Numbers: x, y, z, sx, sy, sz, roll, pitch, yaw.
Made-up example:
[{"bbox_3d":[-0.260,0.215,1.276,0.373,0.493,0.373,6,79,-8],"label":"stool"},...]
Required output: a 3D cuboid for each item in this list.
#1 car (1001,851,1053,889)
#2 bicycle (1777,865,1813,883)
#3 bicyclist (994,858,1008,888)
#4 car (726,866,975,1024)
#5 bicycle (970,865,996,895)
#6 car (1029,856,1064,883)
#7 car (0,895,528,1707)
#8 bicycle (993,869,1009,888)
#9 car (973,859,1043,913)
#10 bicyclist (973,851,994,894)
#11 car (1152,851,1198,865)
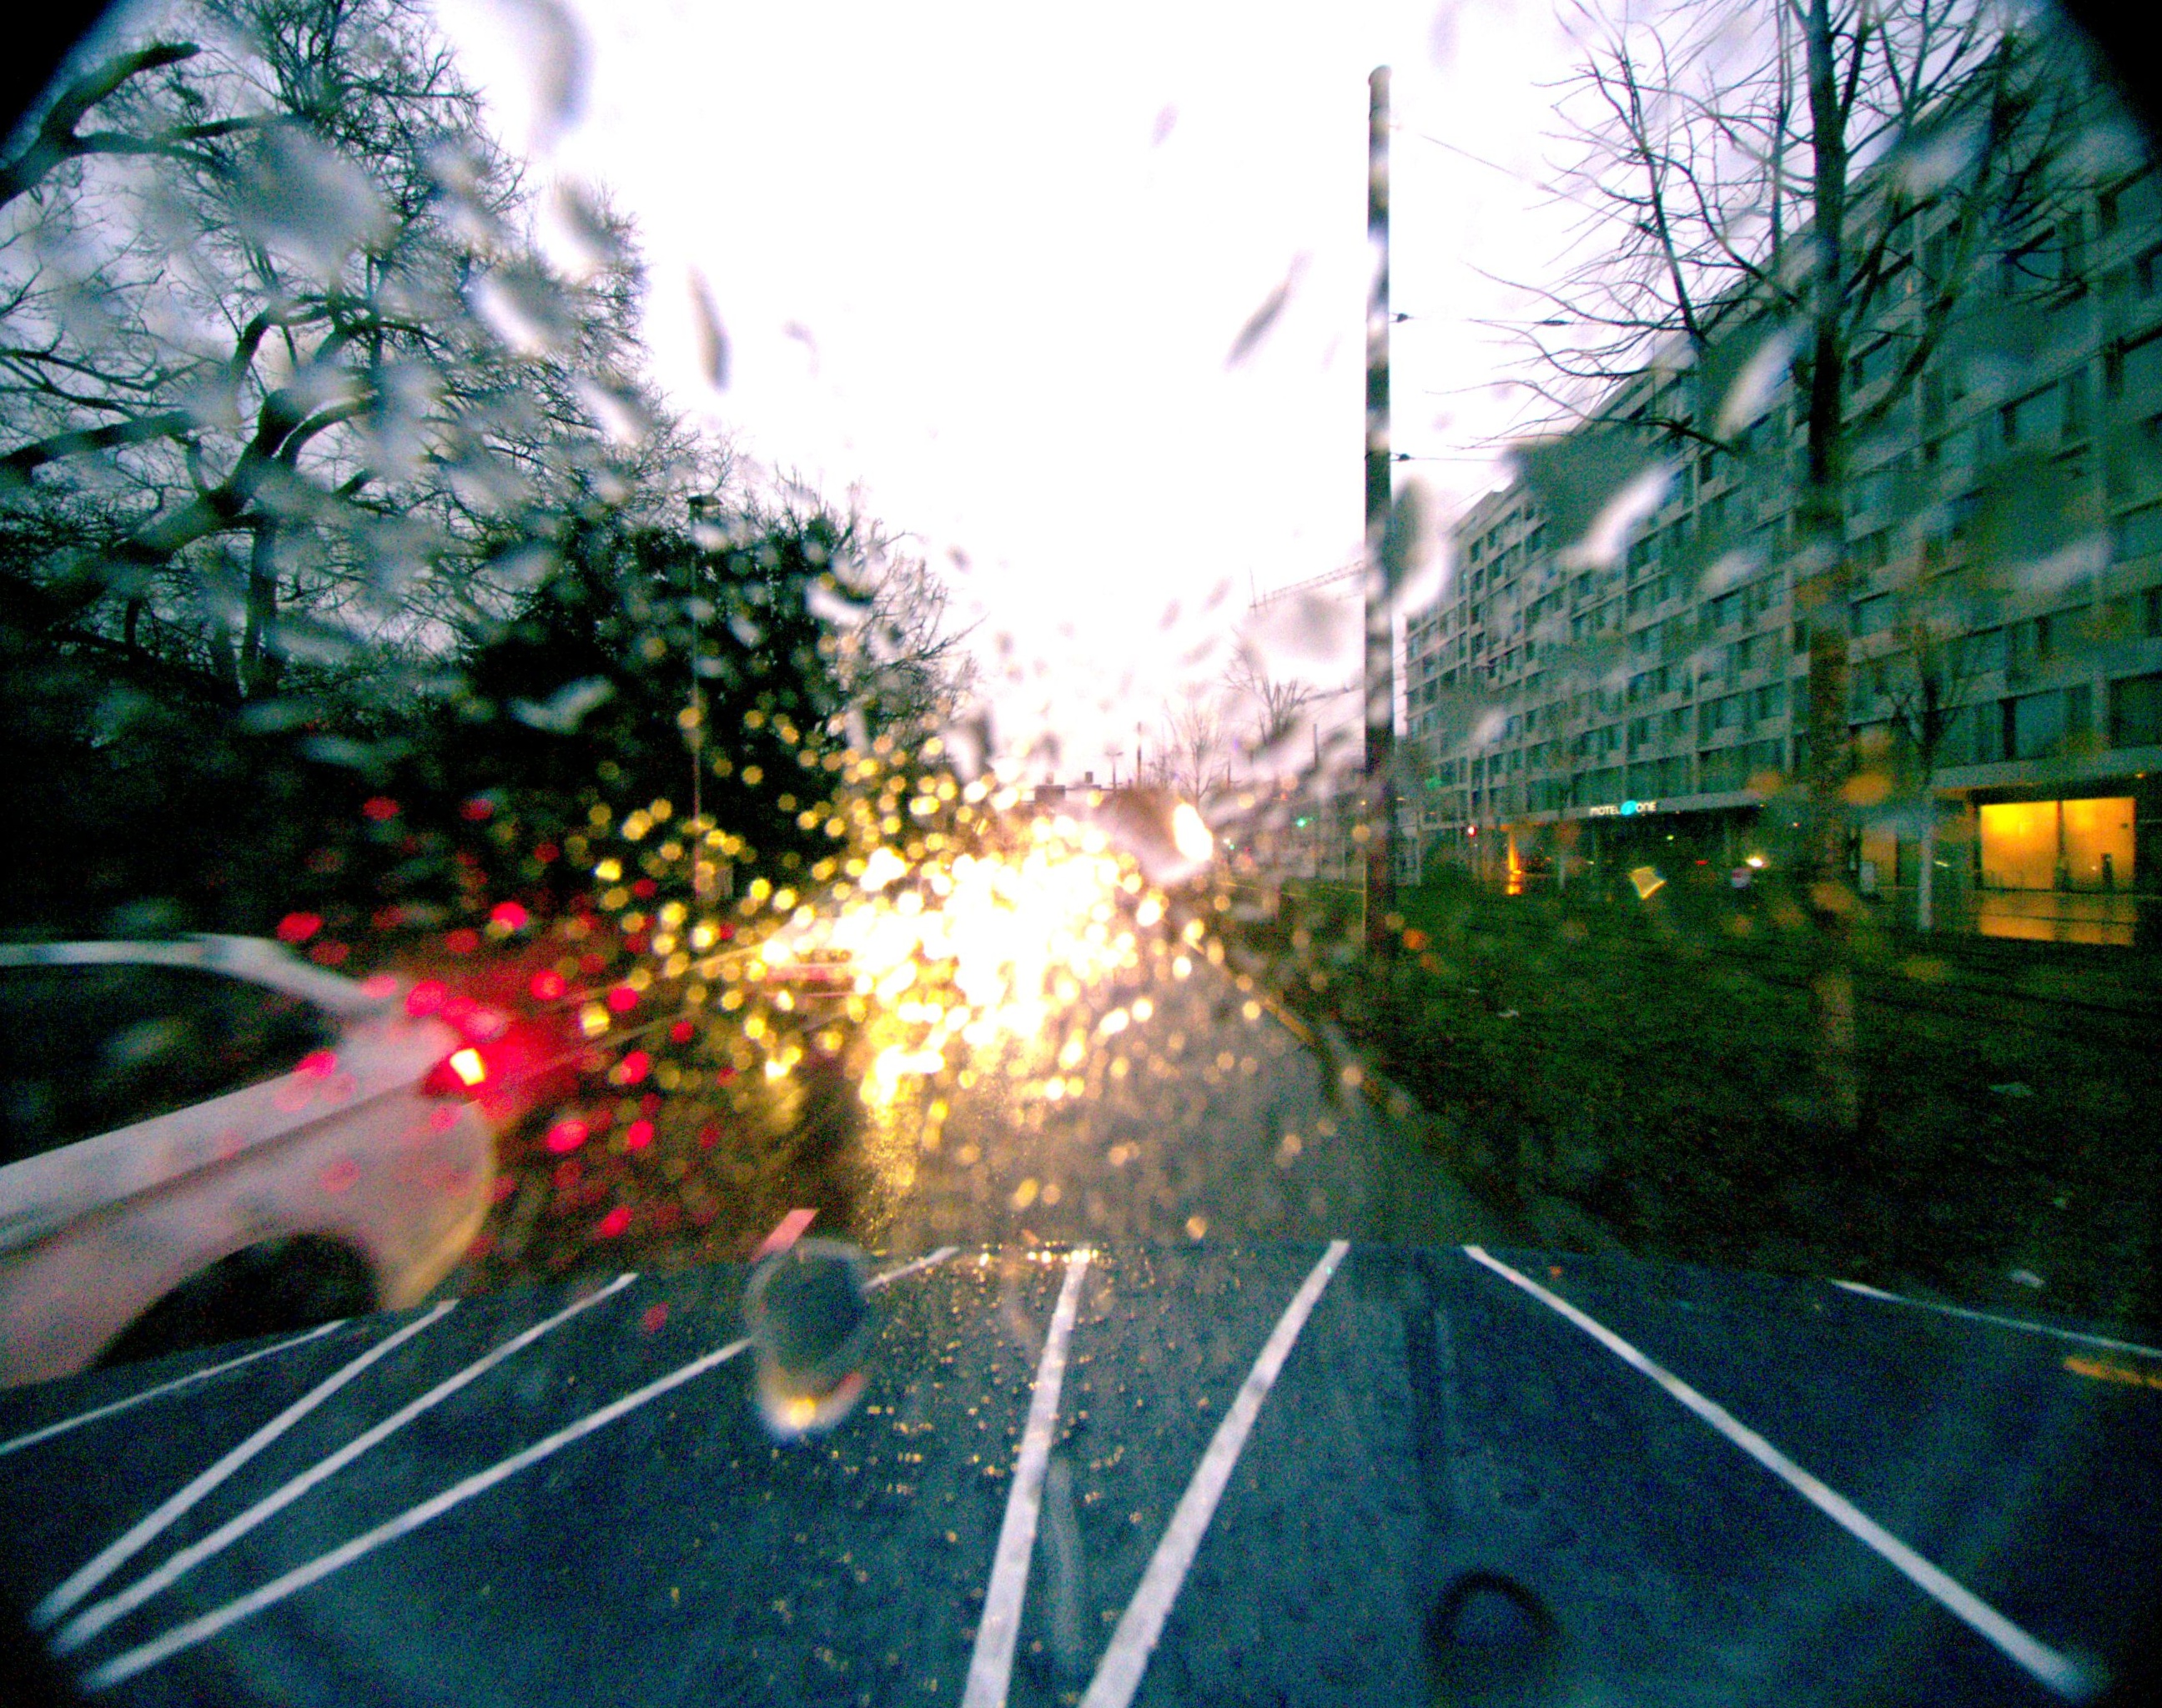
[{"bbox_3d":[-2.533,0.739,36.610,2.073,1.618,4.268,-2,0,1],"label":"car"},{"bbox_3d":[36.309,1.019,38.638,1.349,0.849,0.465,-2,1,-1],"label":"bicycle"},{"bbox_3d":[-4.615,1.091,43.753,0.691,1.675,0.593,-2,1,1],"label":"bicyclist"},{"bbox_3d":[-2.661,0.969,9.885,1.886,1.552,4.171,0,0,1],"label":"car"},{"bbox_3d":[-5.185,1.355,40.578,0.968,1.442,3.389,-2,0,-1],"label":"bicycle"},{"bbox_3d":[-2.260,0.999,50.935,1.998,1.618,4.268,-2,0,1],"label":"car"},{"bbox_3d":[-2.852,0.918,0.174,1.867,1.547,4.937,0,0,-1],"label":"car"},{"bbox_3d":[-4.607,1.408,43.757,0.691,1.036,1.721,-2,1,1],"label":"bicycle"},{"bbox_3d":[-2.503,1.050,27.006,2.073,1.618,4.267,-2,0,-1],"label":"car"},{"bbox_3d":[-5.220,0.983,40.718,0.968,2.210,0.935,-2,1,-1],"label":"bicyclist"},{"bbox_3d":[11.149,0.467,89.947,5.030,1.659,2.092,0,0,25],"label":"car"}]
